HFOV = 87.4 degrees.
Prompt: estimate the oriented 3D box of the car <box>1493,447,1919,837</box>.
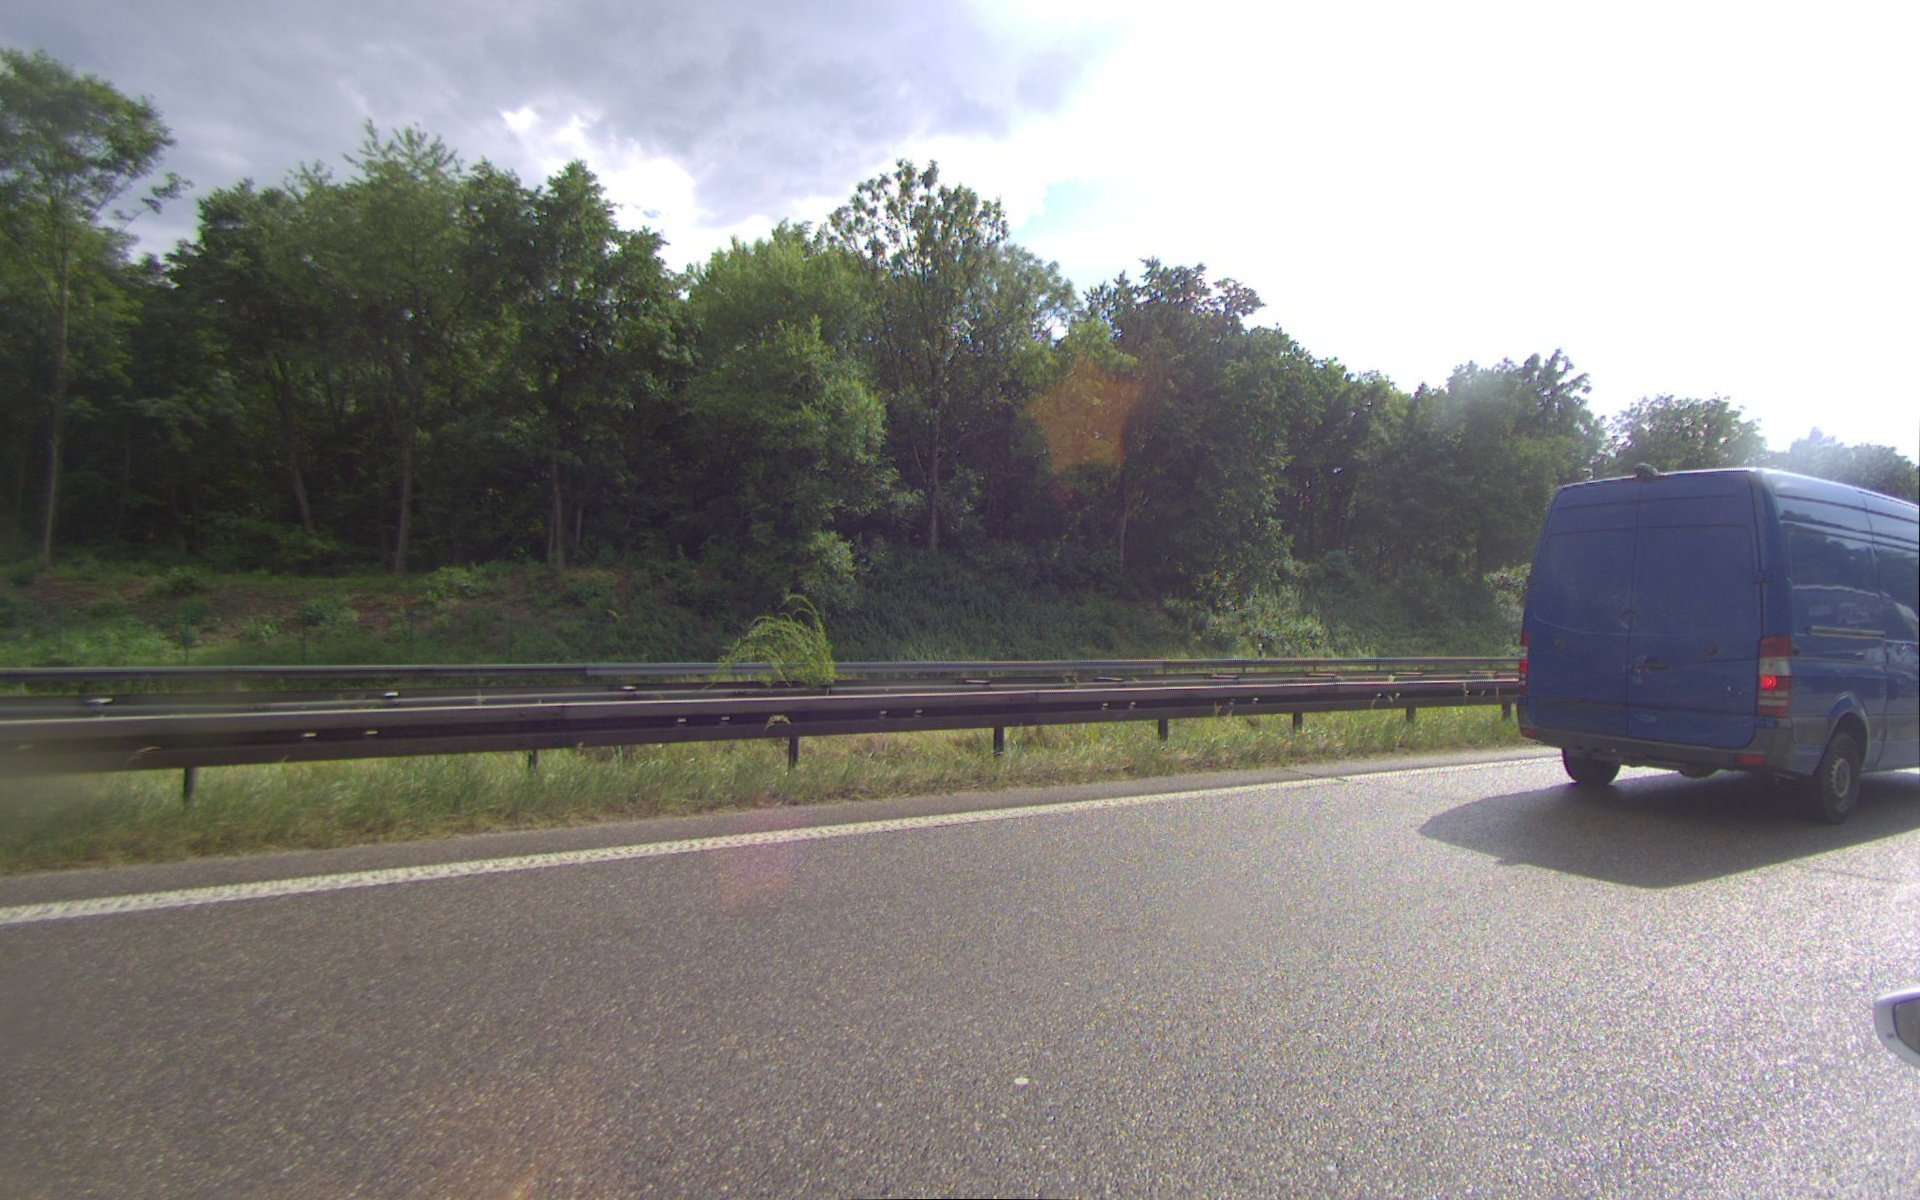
[{"bbox_3d":[7.554,0.351,9.238,5.710,2.684,2.006,2,0,-31],"label":"car"}]
